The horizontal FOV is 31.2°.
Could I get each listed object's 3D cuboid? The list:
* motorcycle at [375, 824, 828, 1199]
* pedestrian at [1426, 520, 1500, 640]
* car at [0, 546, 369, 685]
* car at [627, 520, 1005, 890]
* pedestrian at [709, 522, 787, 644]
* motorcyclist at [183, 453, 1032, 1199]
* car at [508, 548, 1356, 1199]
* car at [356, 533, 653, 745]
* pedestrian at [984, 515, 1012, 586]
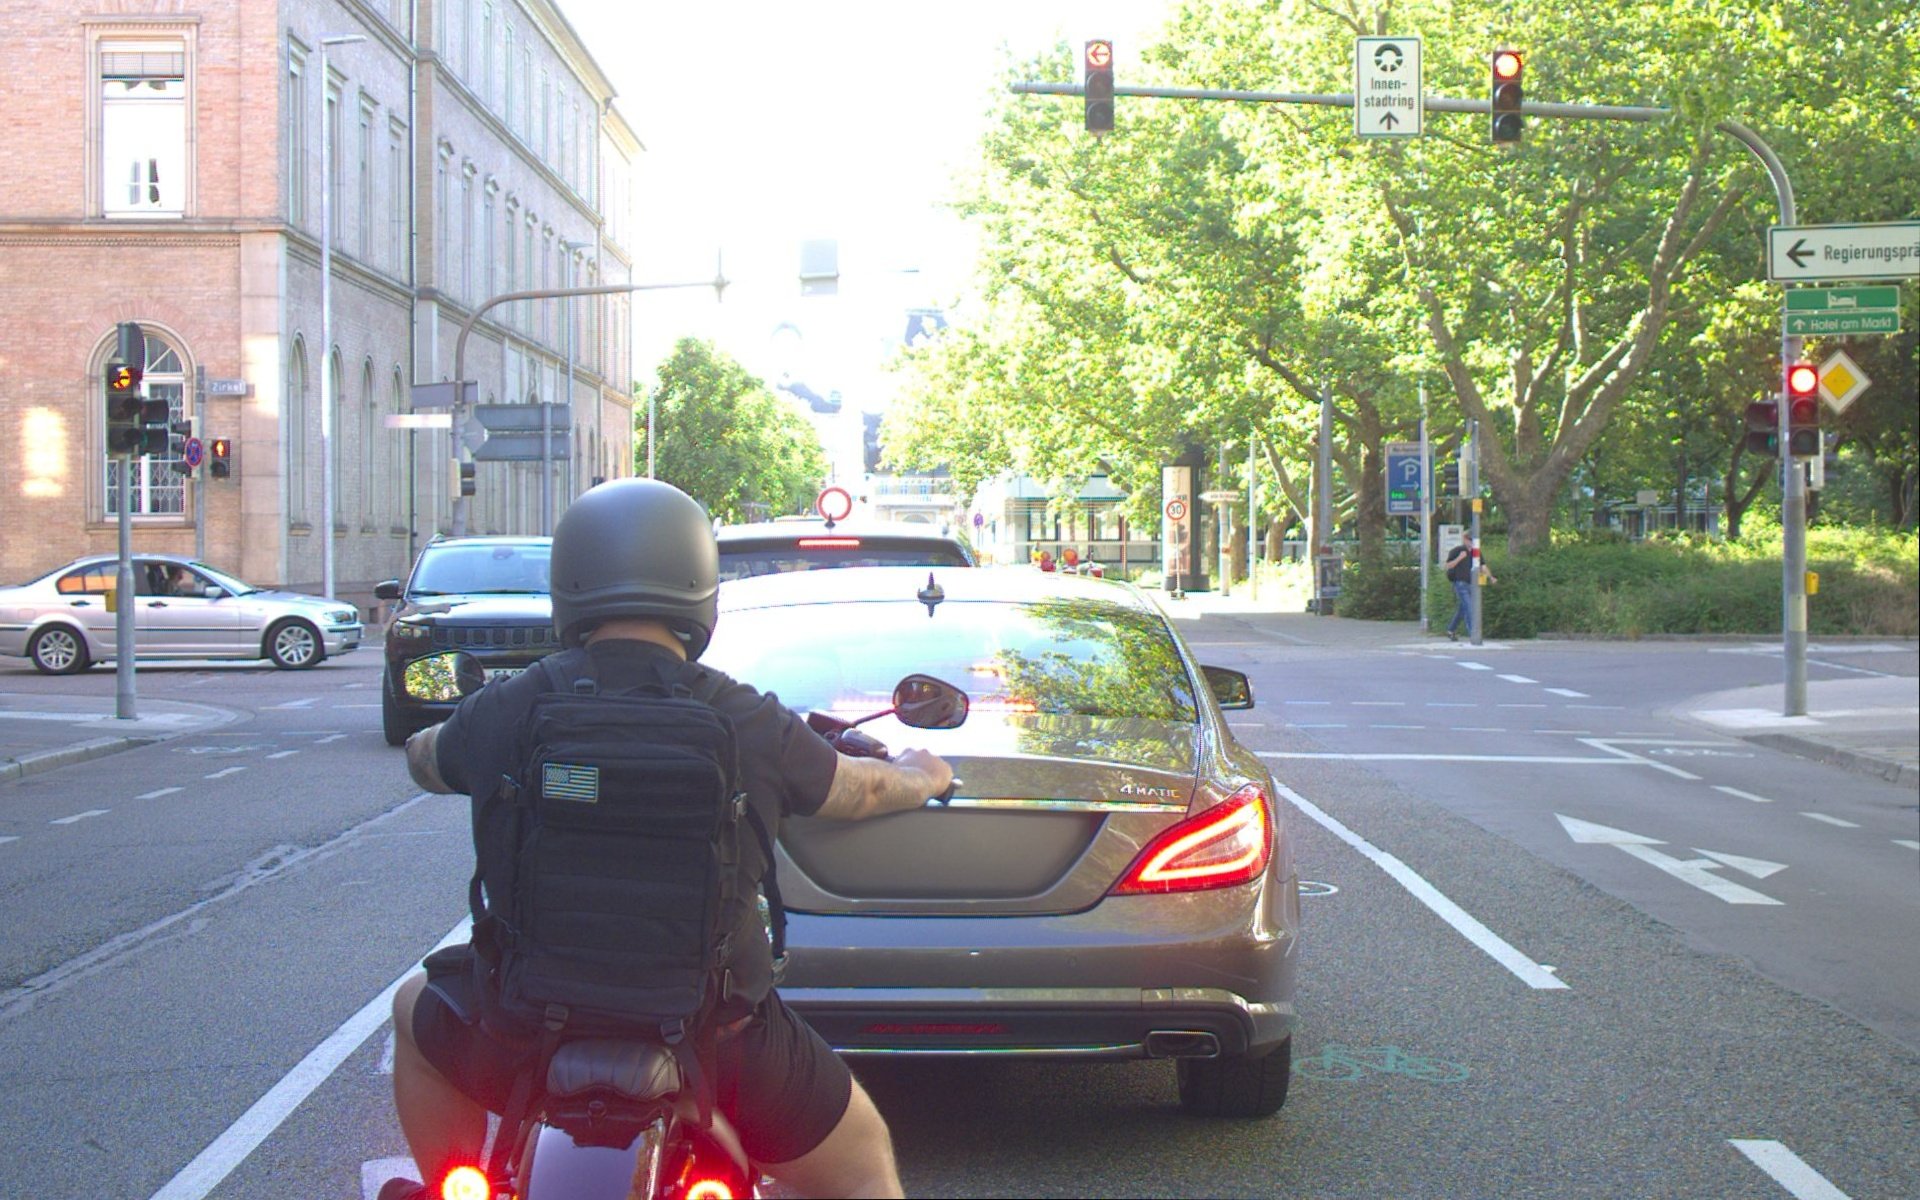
[{"bbox_3d":[-0.497,0.928,5.359,0.513,0.999,2.013,1,1,-1],"label":"motorcycle"},{"bbox_3d":[8.066,-0.329,55.168,0.749,1.903,0.926,1,0,-28],"label":"pedestrian"},{"bbox_3d":[-9.232,0.171,41.052,4.121,1.569,1.858,1,0,-5],"label":"car"},{"bbox_3d":[-0.639,0.413,16.738,1.621,1.588,4.000,0,1,-1],"label":"car"},{"bbox_3d":[-3.214,-0.266,52.171,1.002,1.820,1.076,1,0,6],"label":"pedestrian"},{"bbox_3d":[-0.482,0.597,5.348,1.149,1.593,1.288,1,0,0],"label":"motorcyclist"},{"bbox_3d":[-0.085,0.597,9.623,1.882,1.444,3.820,1,1,-1],"label":"car"},{"bbox_3d":[-3.610,0.268,27.952,1.850,1.565,4.386,1,1,-1],"label":"car"},{"bbox_3d":[1.116,-1.450,100.876,0.764,2.044,0.712,1,0,-1],"label":"pedestrian"}]
